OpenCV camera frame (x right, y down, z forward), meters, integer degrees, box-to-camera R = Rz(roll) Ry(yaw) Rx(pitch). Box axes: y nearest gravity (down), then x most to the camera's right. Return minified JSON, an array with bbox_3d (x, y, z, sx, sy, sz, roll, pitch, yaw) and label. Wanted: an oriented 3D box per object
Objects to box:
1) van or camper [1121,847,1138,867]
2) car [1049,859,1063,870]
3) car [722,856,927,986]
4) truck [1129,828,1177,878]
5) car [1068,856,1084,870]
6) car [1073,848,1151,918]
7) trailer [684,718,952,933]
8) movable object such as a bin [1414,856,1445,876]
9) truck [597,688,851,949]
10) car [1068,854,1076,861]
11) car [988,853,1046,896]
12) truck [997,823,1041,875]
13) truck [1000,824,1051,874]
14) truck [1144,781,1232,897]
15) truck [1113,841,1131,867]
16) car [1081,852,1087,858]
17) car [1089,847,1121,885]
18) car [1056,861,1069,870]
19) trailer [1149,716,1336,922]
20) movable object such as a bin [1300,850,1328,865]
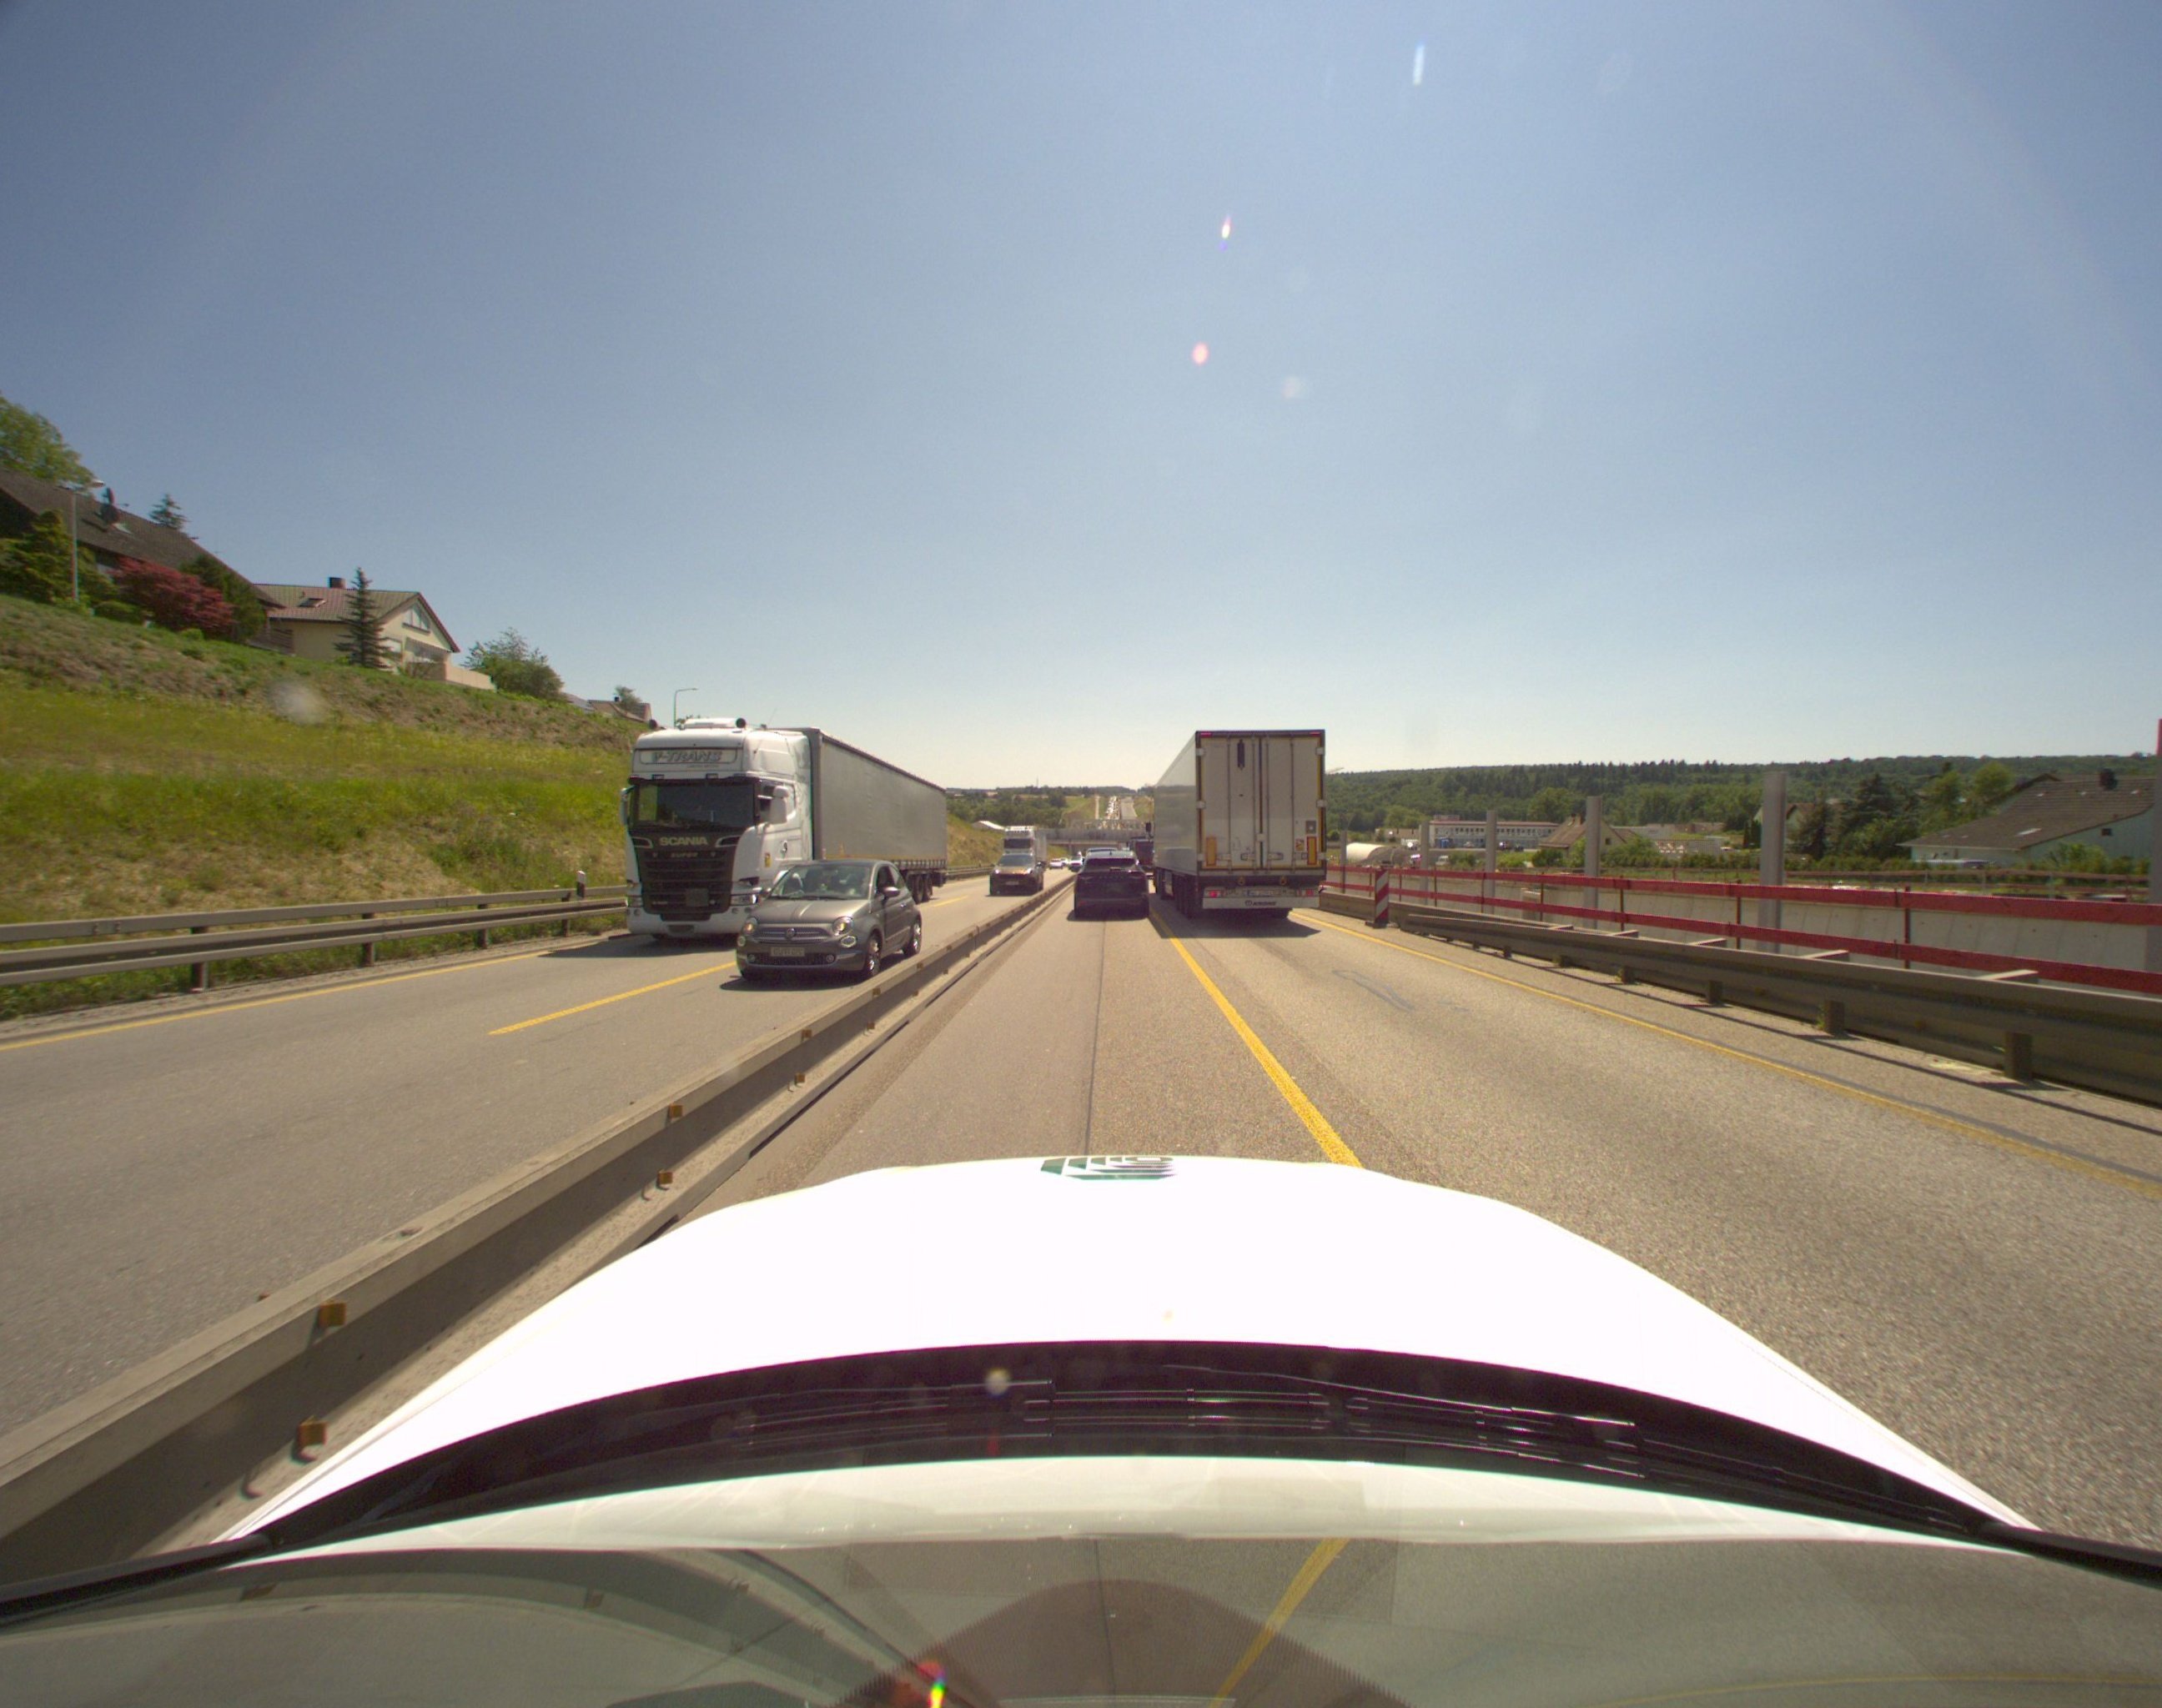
[{"bbox_3d":[5.757,0.368,97.017,1.986,2.244,4.002,1,0,2],"label":"van or camper"},{"bbox_3d":[-3.367,1.408,109.464,1.695,1.378,3.967,0,0,1],"label":"car"},{"bbox_3d":[-3.256,0.768,10.996,1.623,1.479,3.381,0,0,1],"label":"car"},{"bbox_3d":[4.890,0.006,57.321,2.803,3.135,12.845,-1,-1,3],"label":"truck"},{"bbox_3d":[-0.584,1.071,100.971,1.805,1.638,4.365,-1,0,3],"label":"car"},{"bbox_3d":[0.766,0.674,20.447,1.793,1.620,3.299,0,0,2],"label":"car"},{"bbox_3d":[-6.371,-0.561,23.319,2.800,4.286,14.038,0,0,1],"label":"trailer"},{"bbox_3d":[40.458,1.345,94.566,1.985,2.239,4.154,0,0,3],"label":"movable object such as a bin"},{"bbox_3d":[-6.546,-0.587,15.762,2.764,4.287,4.677,0,0,1],"label":"truck"},{"bbox_3d":[-1.767,0.683,164.620,1.642,1.416,3.999,-1,0,-1],"label":"car"},{"bbox_3d":[-2.471,0.760,32.248,1.842,1.586,4.175,0,0,1],"label":"car"},{"bbox_3d":[-5.102,-0.411,67.658,3.227,4.160,4.248,-1,0,1],"label":"truck"},{"bbox_3d":[-4.894,-0.365,74.848,3.231,4.160,13.982,-1,0,2],"label":"truck"},{"bbox_3d":[3.980,-0.513,31.289,2.767,4.058,4.905,-1,-1,1],"label":"truck"},{"bbox_3d":[6.521,0.005,130.562,2.508,3.959,7.602,1,0,1],"label":"truck"},{"bbox_3d":[0.782,0.264,240.533,1.726,1.794,3.581,0,0,1],"label":"car"},{"bbox_3d":[1.244,0.569,41.202,1.468,1.795,3.301,-1,0,4],"label":"car"},{"bbox_3d":[-3.098,1.924,137.884,1.892,1.584,4.515,0,0,1],"label":"car"},{"bbox_3d":[3.789,-0.617,23.201,2.791,4.058,14.119,-1,-1,1],"label":"trailer"},{"bbox_3d":[44.343,0.691,155.191,2.876,2.909,9.485,0,0,3],"label":"movable object such as a bin"}]
